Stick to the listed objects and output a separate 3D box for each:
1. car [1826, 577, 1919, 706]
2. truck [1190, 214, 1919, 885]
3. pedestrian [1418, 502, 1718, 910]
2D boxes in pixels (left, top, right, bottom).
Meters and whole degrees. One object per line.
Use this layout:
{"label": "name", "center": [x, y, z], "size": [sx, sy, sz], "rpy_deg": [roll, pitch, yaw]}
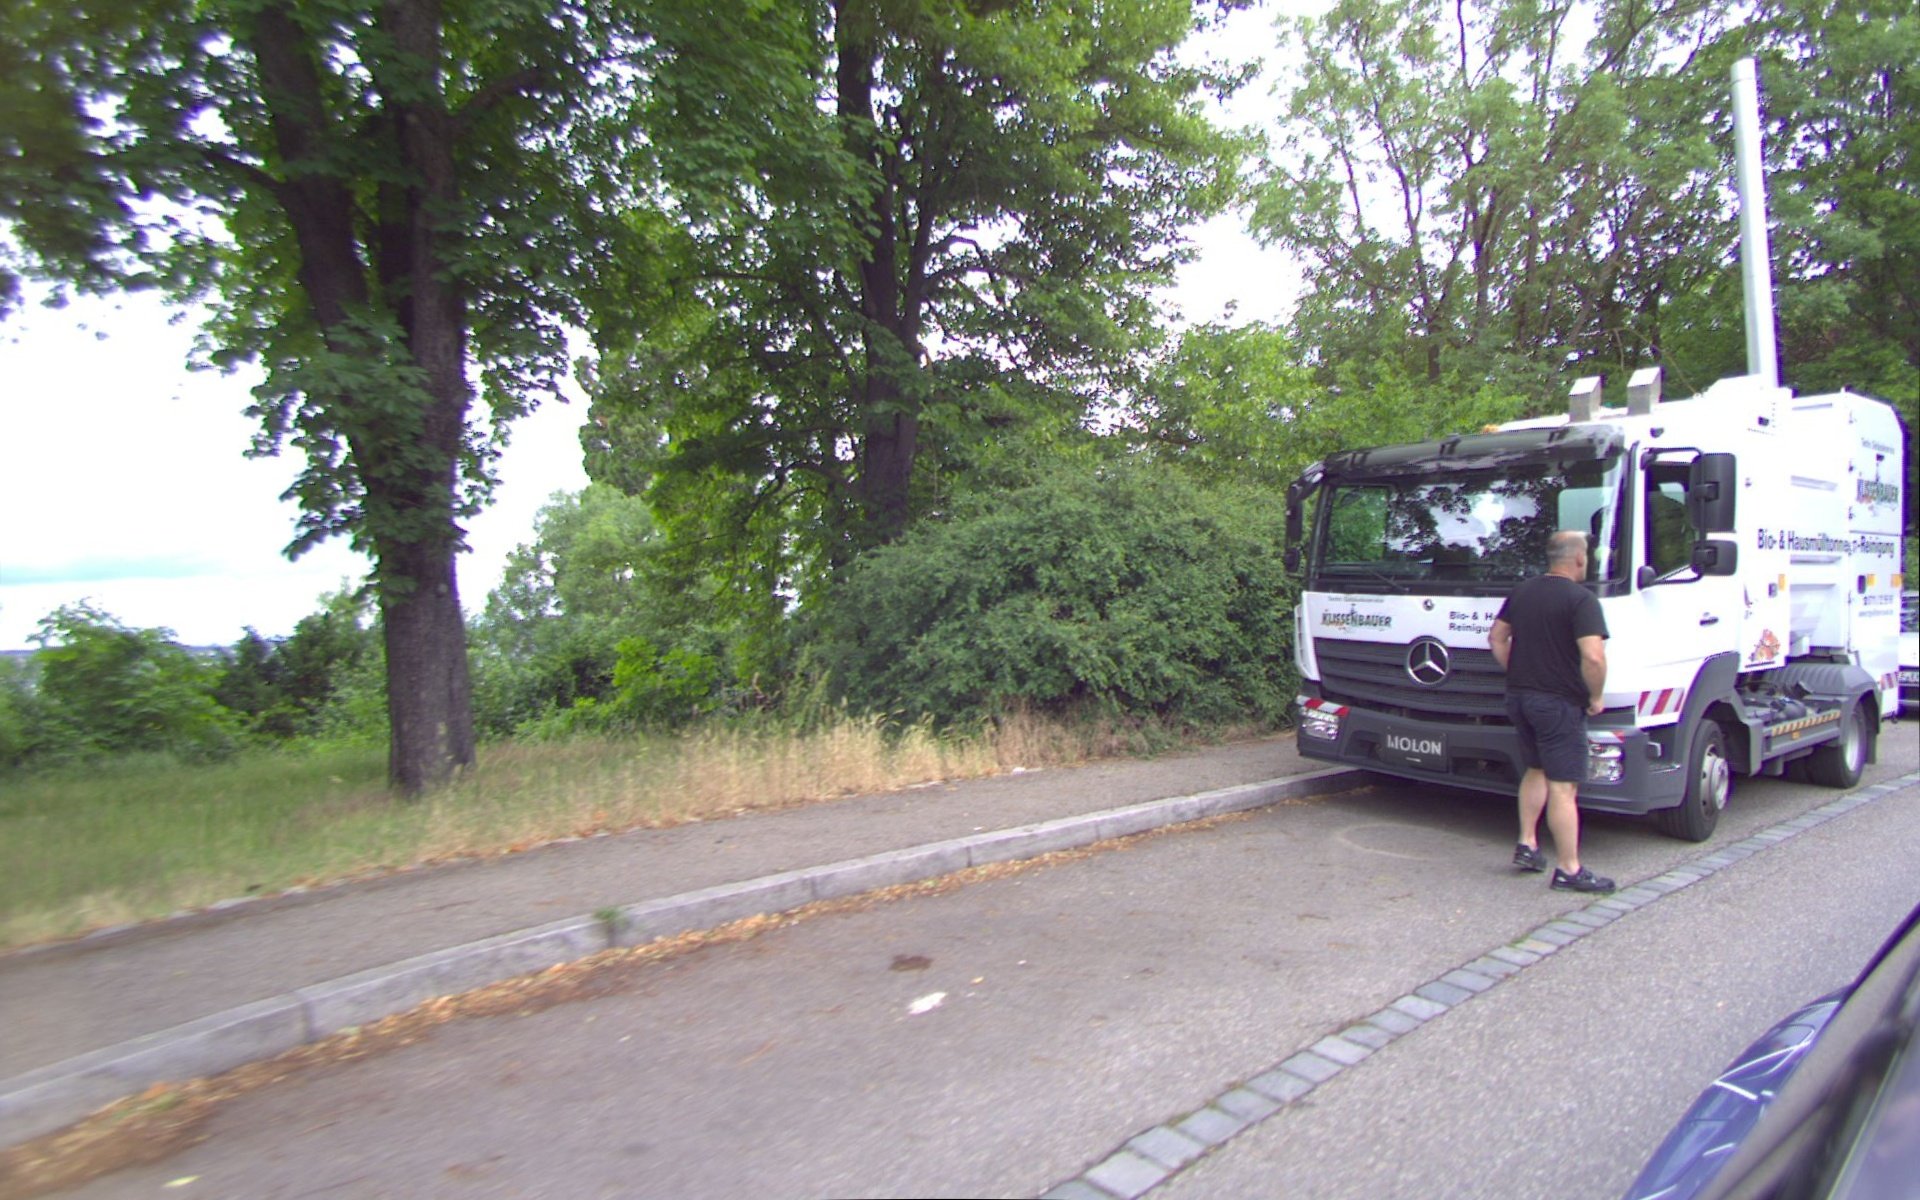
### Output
{"label": "car", "center": [13.201, 0.473, 13.202], "size": [3.922, 1.544, 1.809], "rpy_deg": [-1, 0, -32]}
{"label": "truck", "center": [5.207, -0.319, 7.923], "size": [7.091, 3.220, 2.491], "rpy_deg": [-1, 2, -35]}
{"label": "pedestrian", "center": [3.116, 0.471, 5.233], "size": [0.964, 1.856, 0.921], "rpy_deg": [1, 1, -30]}
